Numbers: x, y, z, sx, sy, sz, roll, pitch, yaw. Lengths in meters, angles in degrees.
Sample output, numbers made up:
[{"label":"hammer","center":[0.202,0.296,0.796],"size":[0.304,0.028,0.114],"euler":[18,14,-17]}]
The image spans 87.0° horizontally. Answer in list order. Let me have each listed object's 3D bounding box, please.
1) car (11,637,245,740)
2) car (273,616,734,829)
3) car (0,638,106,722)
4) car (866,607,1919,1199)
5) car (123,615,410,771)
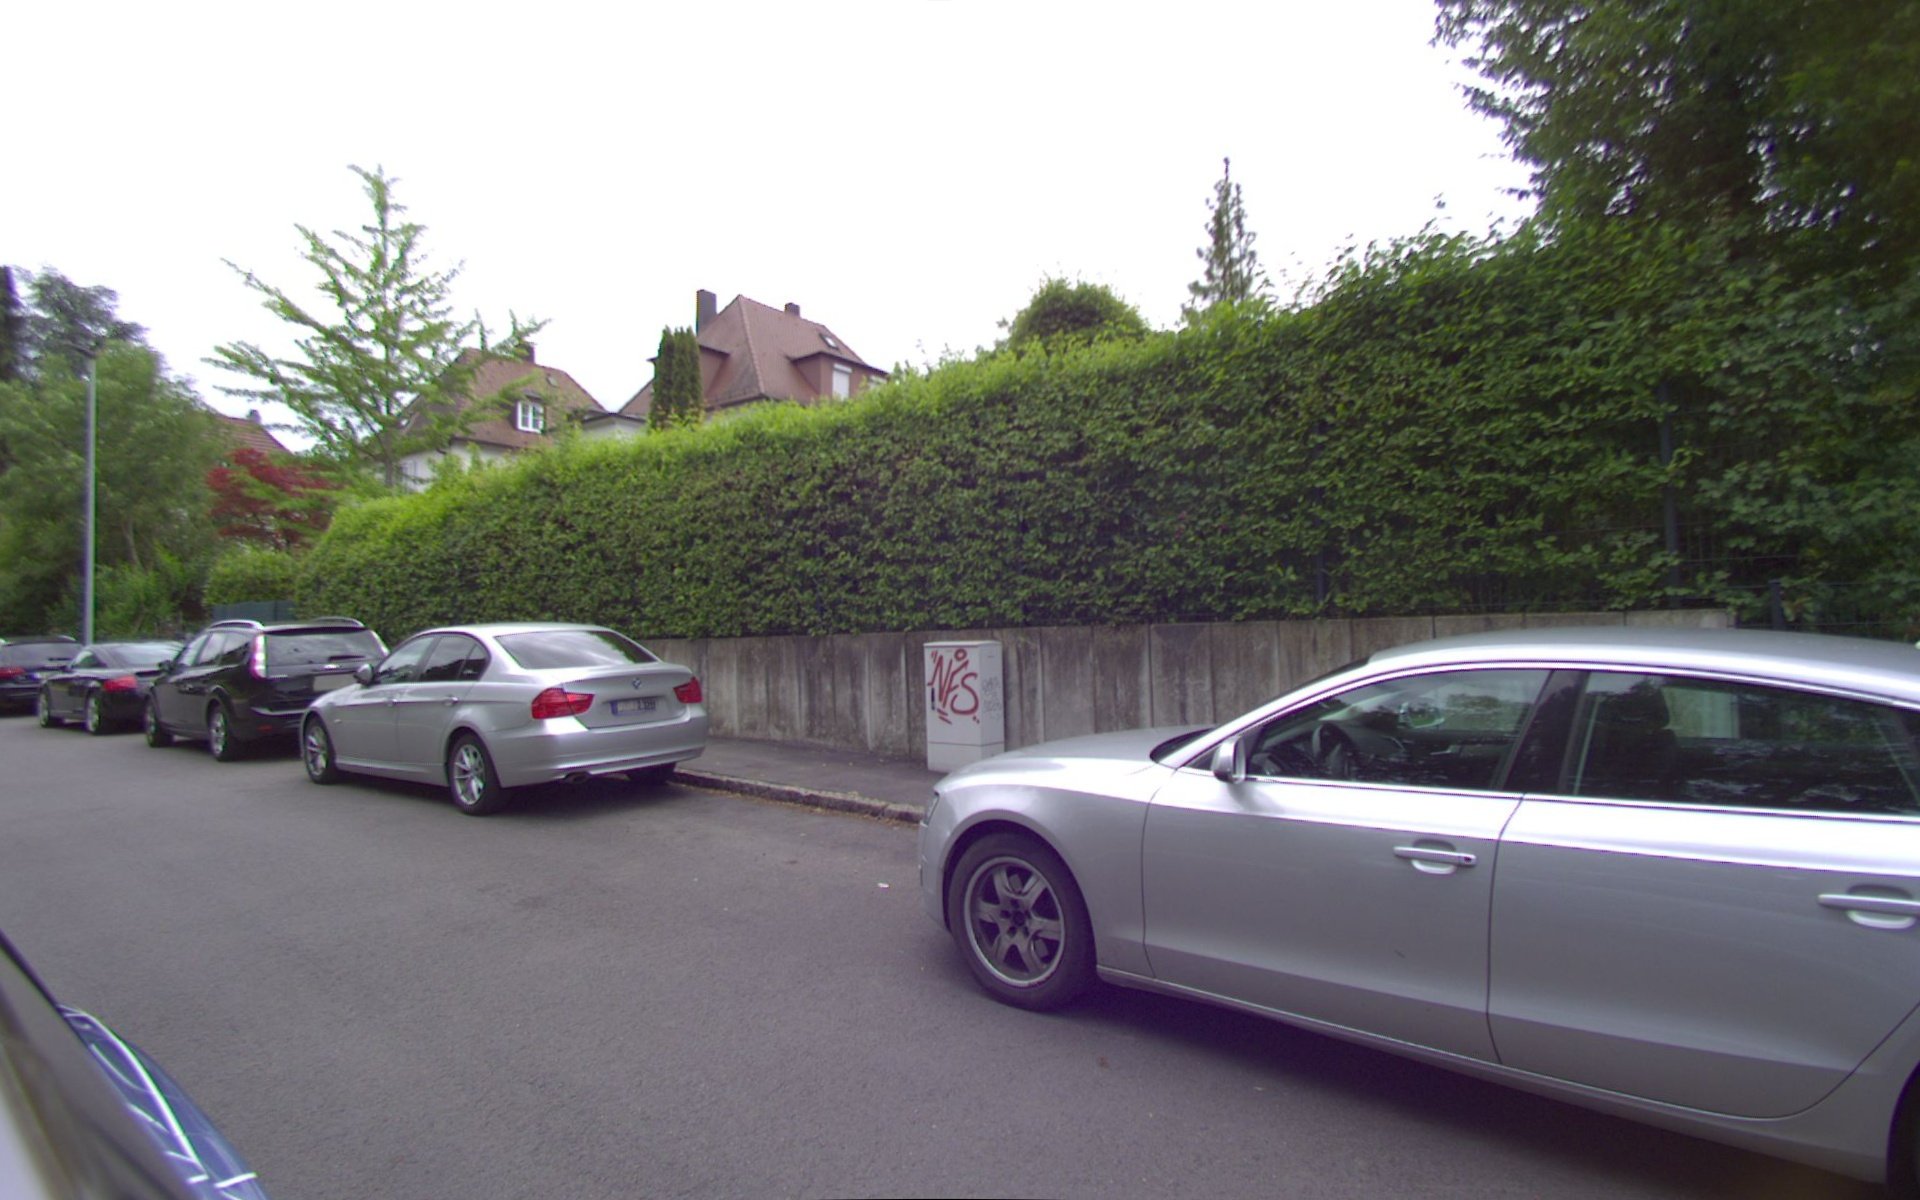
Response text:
[{"label":"car","center":[-12.935,1.286,15.676],"size":[4.096,1.351,1.697],"euler":[-2,-1,34]},{"label":"car","center":[-4.093,0.889,8.770],"size":[4.332,1.384,1.759],"euler":[-2,-1,37]},{"label":"car","center":[-18.022,1.457,19.213],"size":[4.653,1.395,1.703],"euler":[-2,-1,36]},{"label":"car","center":[1.889,0.750,3.318],"size":[4.443,1.384,1.812],"euler":[-2,-1,41]},{"label":"car","center":[-8.518,1.004,12.269],"size":[4.469,1.545,1.640],"euler":[-2,-1,39]}]
